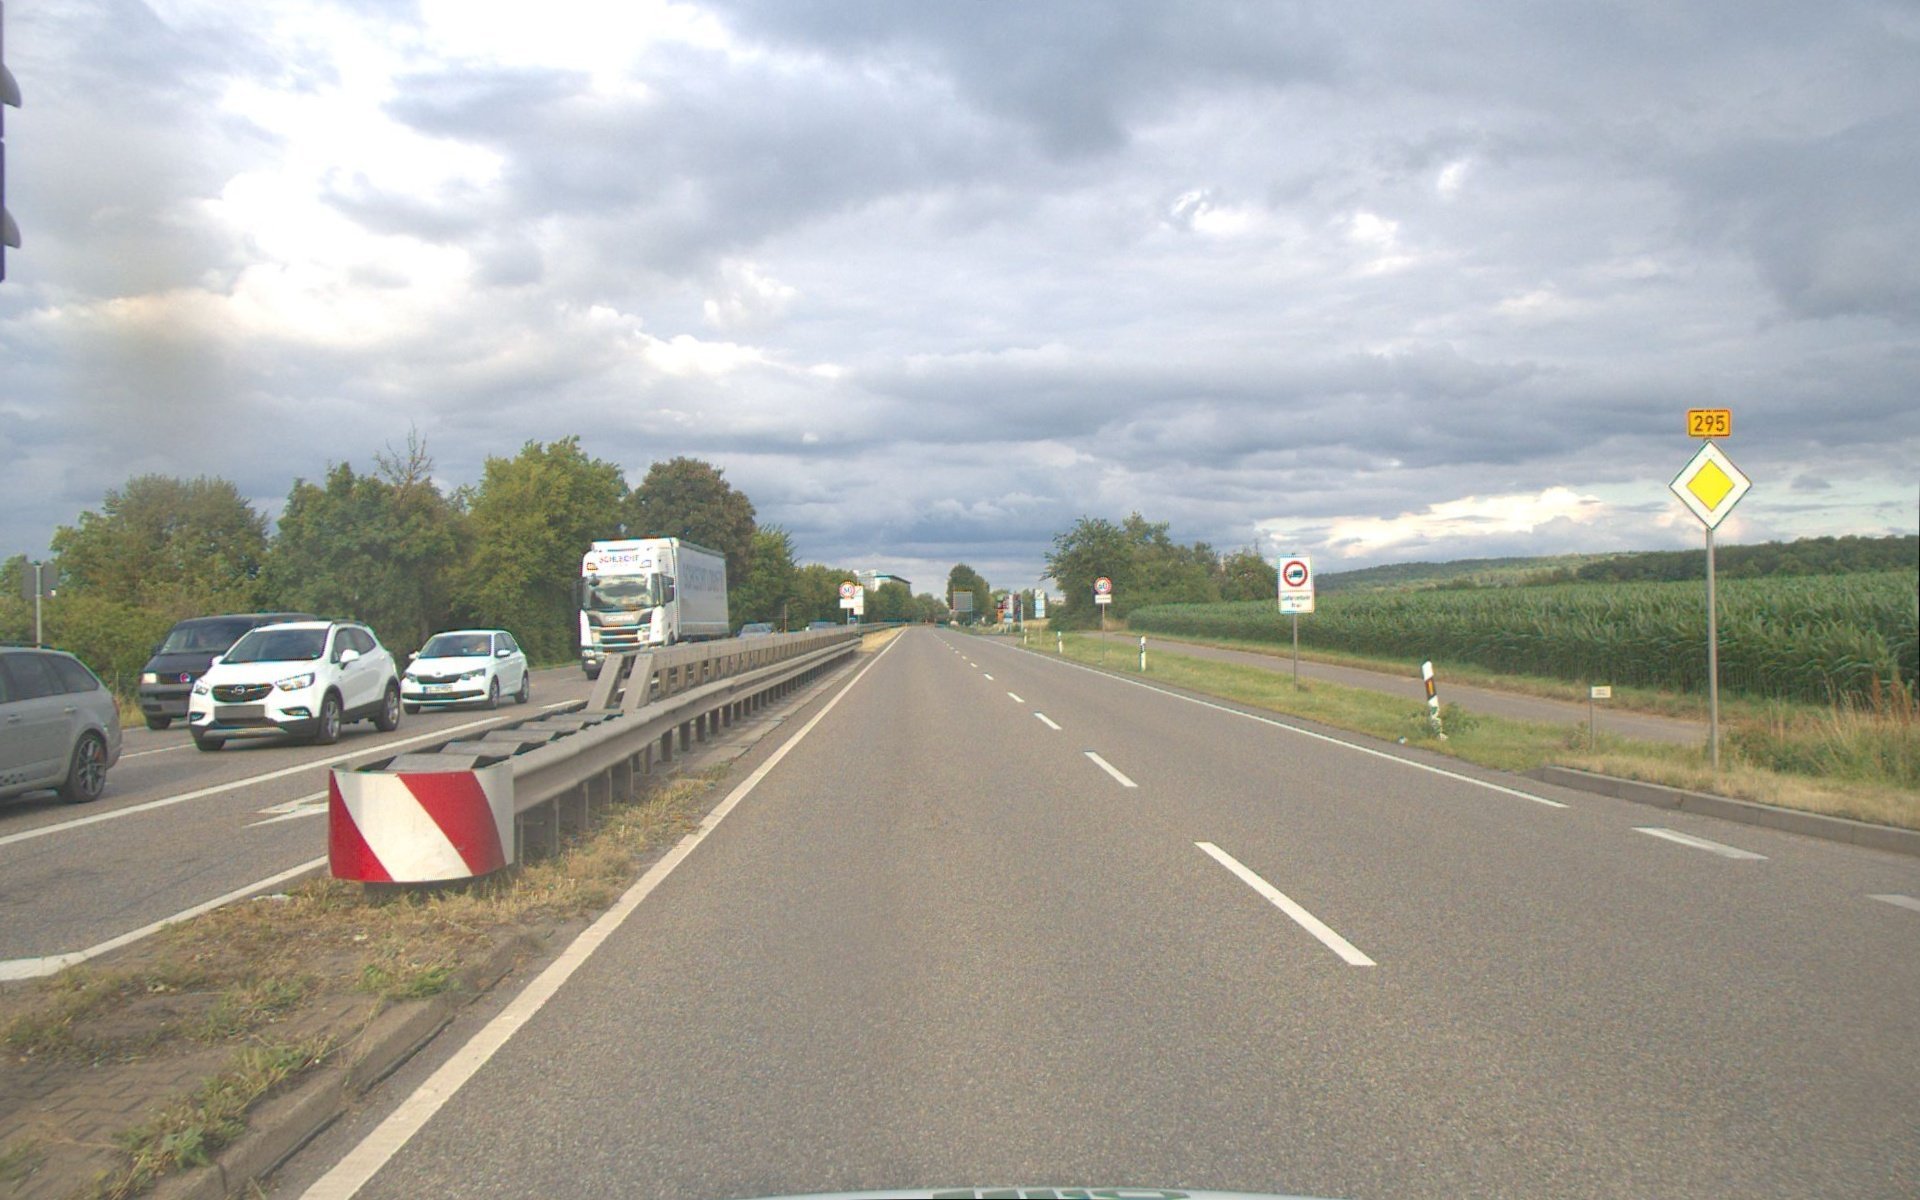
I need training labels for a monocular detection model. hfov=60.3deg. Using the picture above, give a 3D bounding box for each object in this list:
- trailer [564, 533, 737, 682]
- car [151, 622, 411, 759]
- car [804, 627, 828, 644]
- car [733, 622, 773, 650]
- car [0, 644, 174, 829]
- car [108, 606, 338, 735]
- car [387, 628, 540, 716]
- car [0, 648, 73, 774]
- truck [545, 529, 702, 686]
[{"bbox_3d":[-10.086,0.309,55.868,3.395,4.223,13.910,-3,-1,-2],"label":"trailer"},{"bbox_3d":[-9.259,1.164,22.966,1.869,1.638,4.403,-2,-1,-2],"label":"car"},{"bbox_3d":[-13.325,3.270,153.306,1.829,1.503,4.823,-2,-1,-2],"label":"car"},{"bbox_3d":[-11.378,1.970,91.223,1.753,1.410,4.158,-2,-1,-2],"label":"car"},{"bbox_3d":[-8.785,1.175,14.040,1.869,1.453,5.150,-2,-1,-2],"label":"car"},{"bbox_3d":[-13.131,1.217,29.851,1.953,2.049,4.945,-2,-1,-1],"label":"car"},{"bbox_3d":[-9.397,1.320,31.611,1.753,1.470,4.158,-2,-1,-2],"label":"car"},{"bbox_3d":[-12.592,1.392,19.700,1.869,1.490,4.182,-2,-1,-2],"label":"car"},{"bbox_3d":[-9.874,0.241,49.217,3.405,4.223,6.047,-3,-1,-2],"label":"truck"}]
